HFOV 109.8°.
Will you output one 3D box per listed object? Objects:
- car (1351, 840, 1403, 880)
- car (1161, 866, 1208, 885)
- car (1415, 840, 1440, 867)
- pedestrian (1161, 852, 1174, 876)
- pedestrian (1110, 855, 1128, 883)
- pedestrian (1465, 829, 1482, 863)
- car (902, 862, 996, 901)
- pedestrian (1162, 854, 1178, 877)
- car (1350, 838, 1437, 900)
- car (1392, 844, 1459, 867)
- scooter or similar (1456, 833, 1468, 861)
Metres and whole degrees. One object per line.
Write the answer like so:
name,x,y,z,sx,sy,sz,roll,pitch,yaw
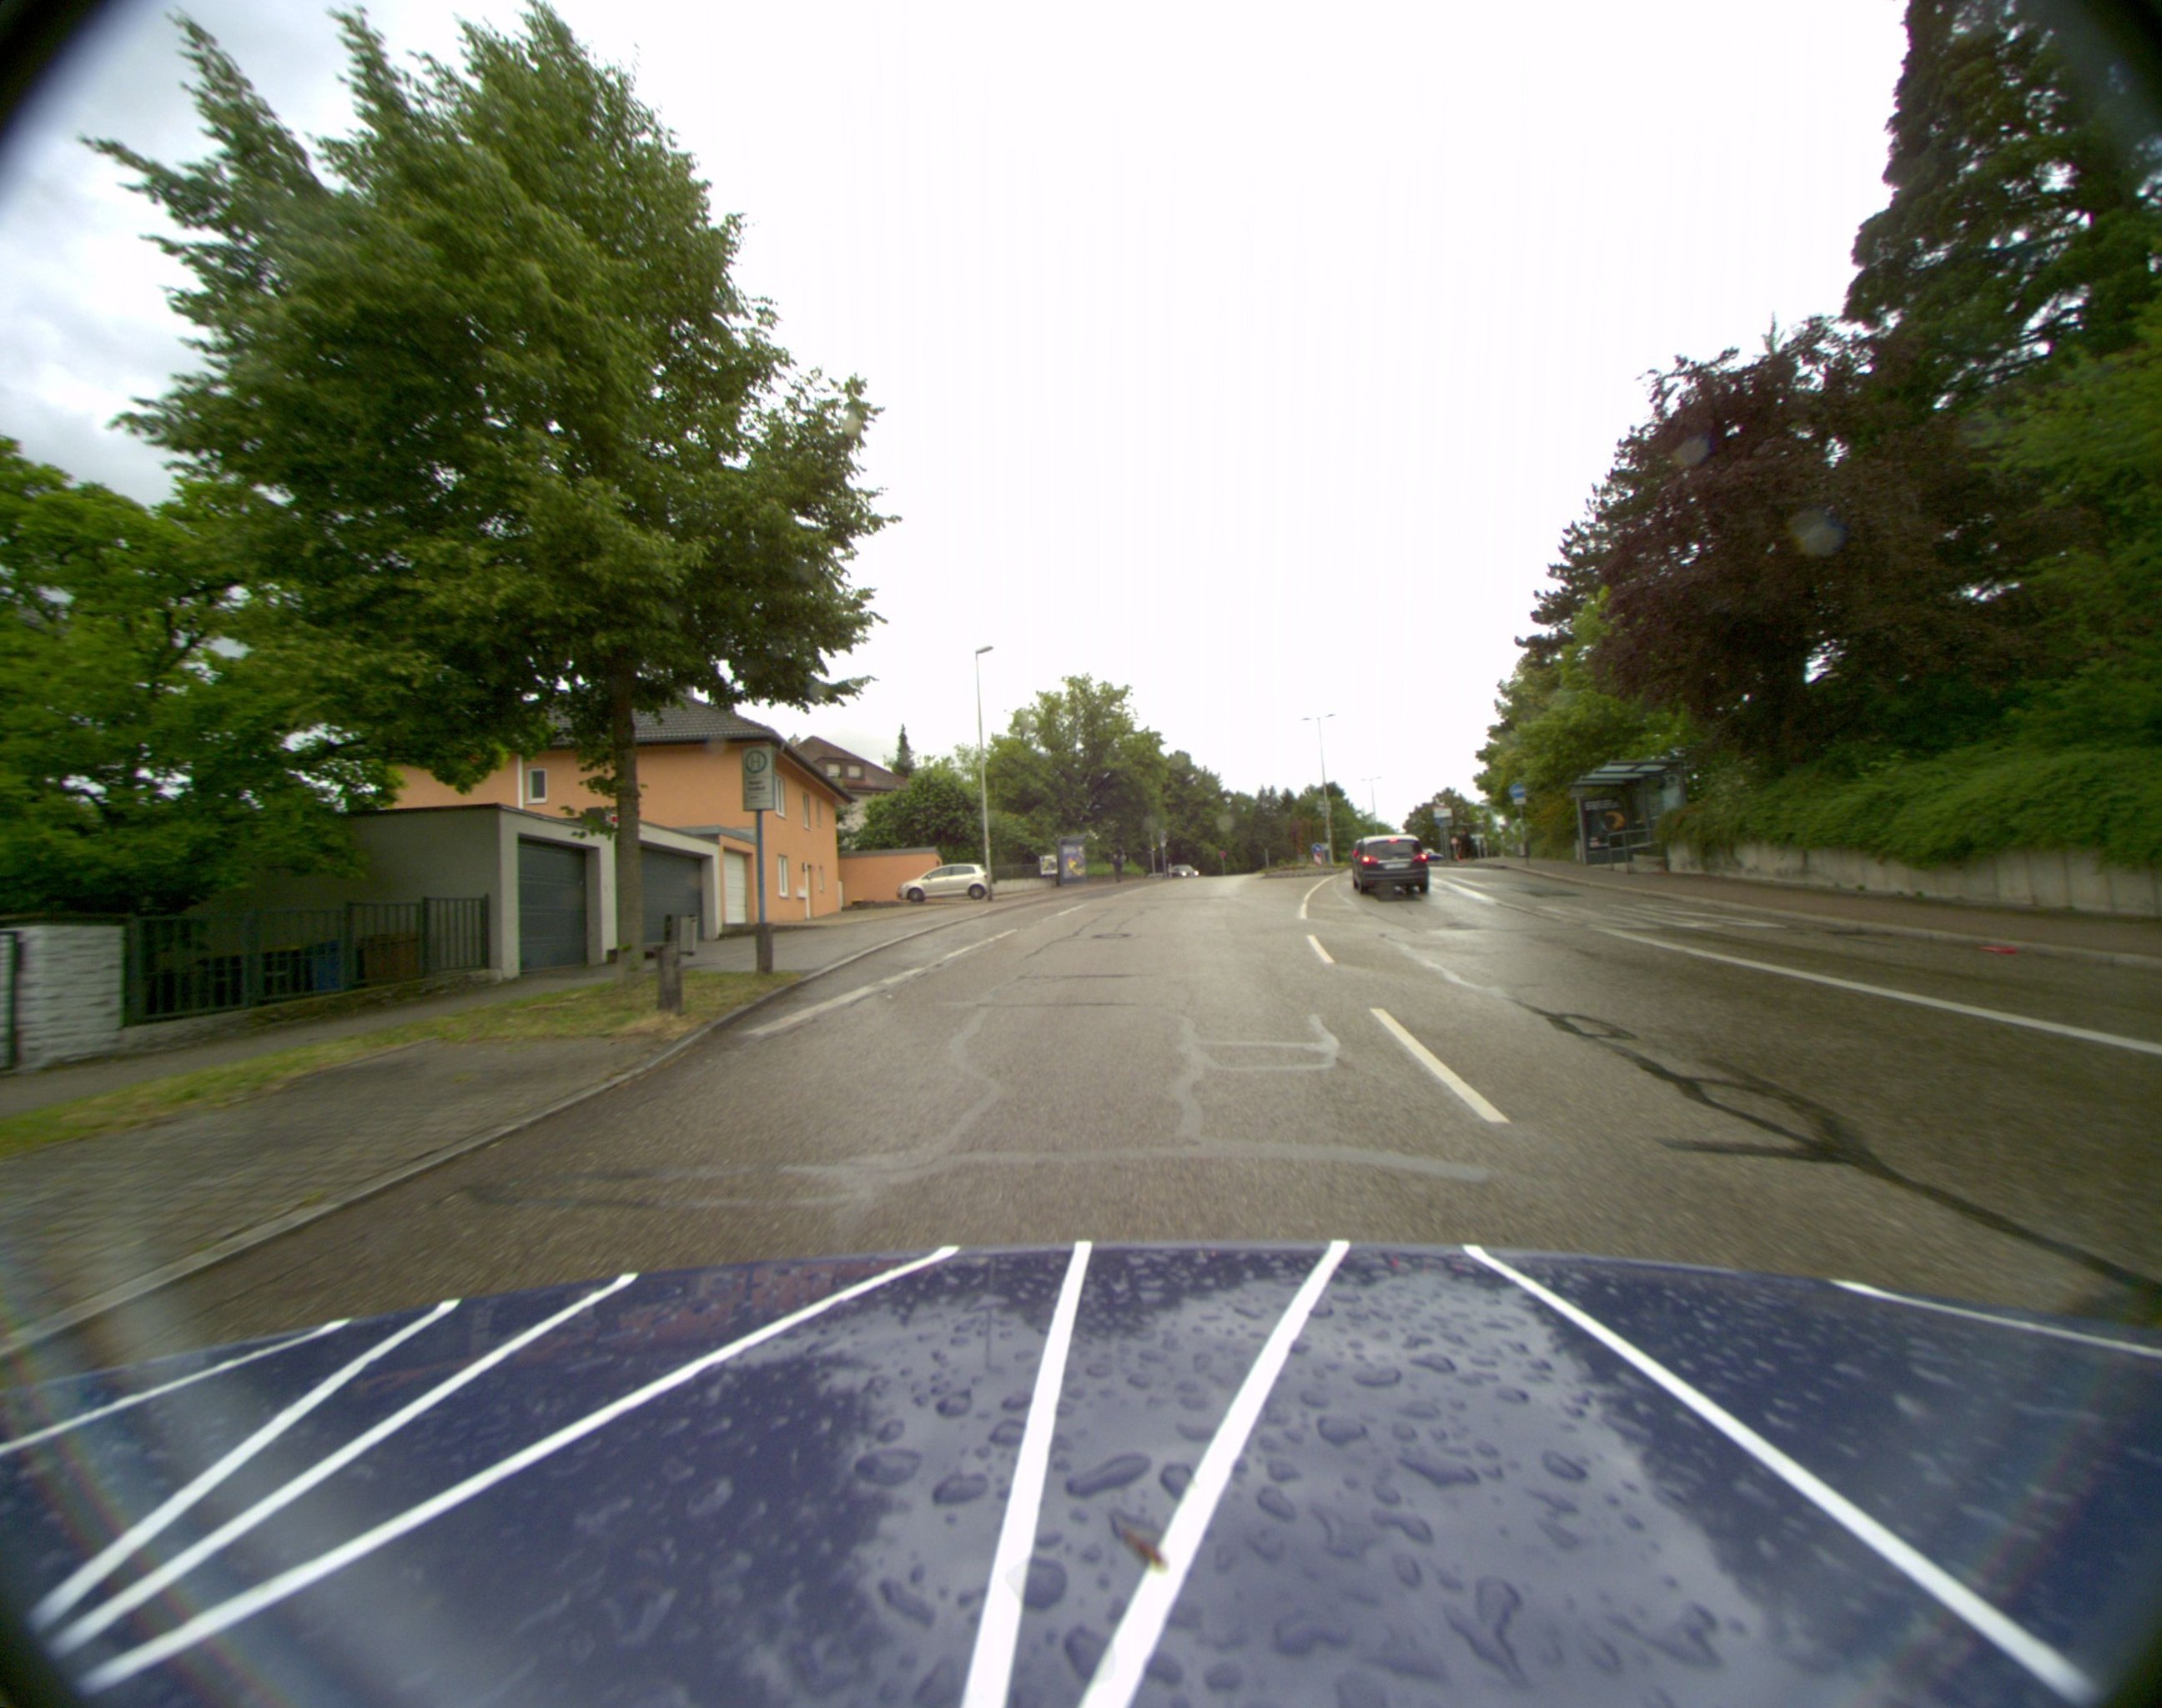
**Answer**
car,12.122,0.250,31.286,1.723,1.455,4.383,-3,-1,19
car,9.295,1.956,68.357,1.866,1.406,4.378,-2,-3,-29
car,35.904,-0.001,78.900,2.170,2.399,5.407,-3,-3,24
pedestrian,6.251,0.736,54.937,0.724,1.722,0.820,-3,-1,16
pedestrian,2.296,0.905,45.554,0.927,1.645,1.098,-3,-1,5
pedestrian,21.595,-0.424,41.794,0.703,1.796,0.827,-3,-1,27
car,-5.708,1.182,33.273,3.869,1.556,1.727,-1,-1,-5
pedestrian,6.571,0.855,55.834,0.820,1.645,0.724,-2,-1,-36
car,9.131,0.363,22.561,1.813,1.567,4.691,-3,0,16
car,26.082,0.094,57.513,4.675,1.428,1.761,-2,-3,-22
scooter or similar,21.089,-0.395,42.032,0.509,1.507,1.320,-3,-1,27
